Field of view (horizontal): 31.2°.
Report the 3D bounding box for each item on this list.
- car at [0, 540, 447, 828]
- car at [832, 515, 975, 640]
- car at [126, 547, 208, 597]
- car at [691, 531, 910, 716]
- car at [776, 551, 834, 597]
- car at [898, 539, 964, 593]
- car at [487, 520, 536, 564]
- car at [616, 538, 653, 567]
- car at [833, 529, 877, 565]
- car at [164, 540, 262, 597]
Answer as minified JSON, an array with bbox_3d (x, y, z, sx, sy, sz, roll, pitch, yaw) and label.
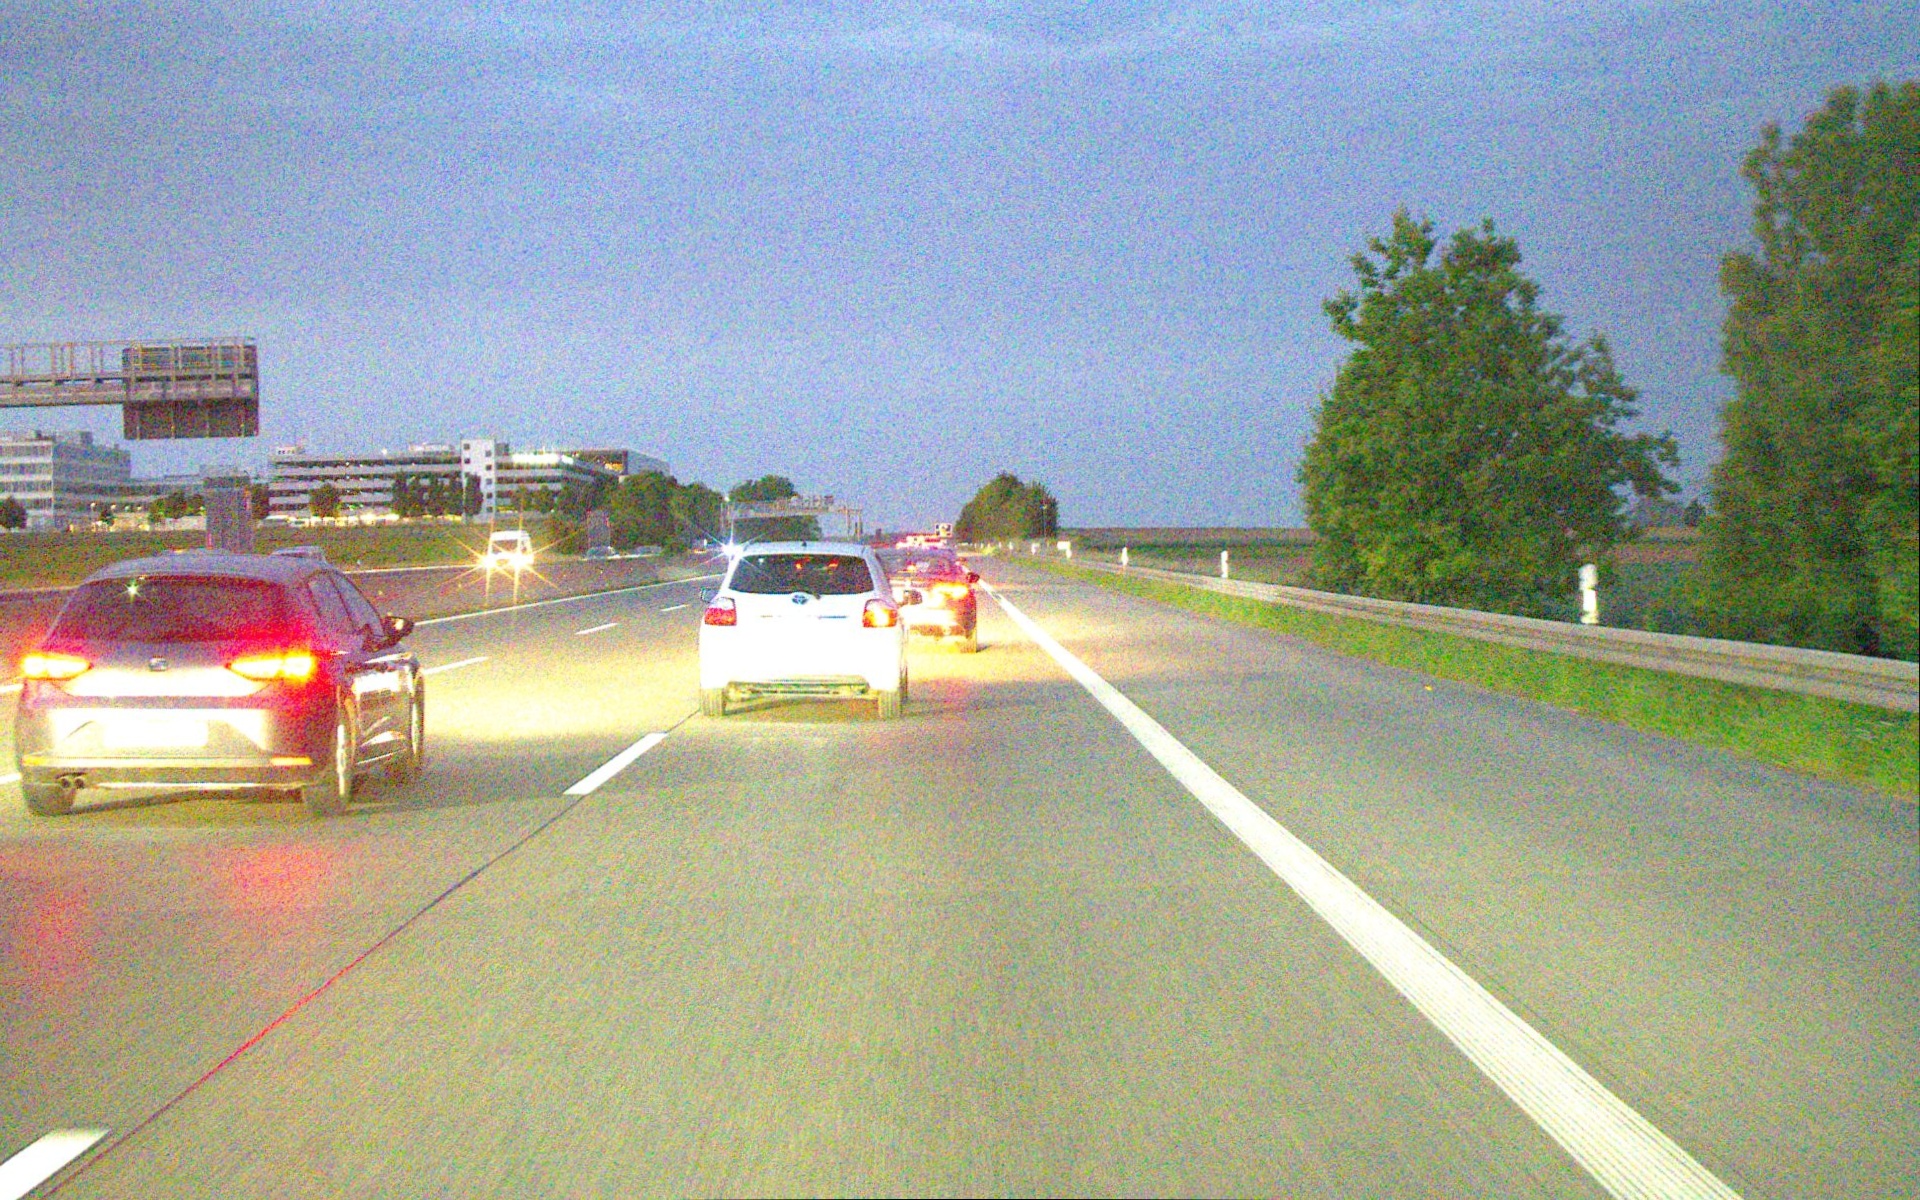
[{"bbox_3d":[-4.181,0.410,20.063,1.722,1.466,4.726,1,1,-1],"label":"car"},{"bbox_3d":[-0.768,-0.319,47.366,1.880,1.637,4.000,1,1,-1],"label":"car"},{"bbox_3d":[-20.613,-0.727,89.478,1.363,1.257,3.507,1,1,-1],"label":"car"},{"bbox_3d":[-1.357,0.176,30.746,1.744,1.519,4.414,1,1,0],"label":"car"},{"bbox_3d":[-5.293,-0.895,117.536,1.880,1.547,4.000,1,1,-1],"label":"car"},{"bbox_3d":[-0.866,-0.996,101.338,1.880,1.547,4.000,1,1,-1],"label":"car"},{"bbox_3d":[-24.613,-3.160,188.840,1.993,2.379,5.836,1,1,0],"label":"car"},{"bbox_3d":[-18.546,-2.682,196.043,1.699,1.611,4.626,1,1,0],"label":"car"},{"bbox_3d":[-5.516,-2.770,181.376,2.199,1.873,4.000,1,1,-1],"label":"car"},{"bbox_3d":[-16.575,-0.696,76.370,1.448,1.229,3.507,1,1,-1],"label":"car"}]
